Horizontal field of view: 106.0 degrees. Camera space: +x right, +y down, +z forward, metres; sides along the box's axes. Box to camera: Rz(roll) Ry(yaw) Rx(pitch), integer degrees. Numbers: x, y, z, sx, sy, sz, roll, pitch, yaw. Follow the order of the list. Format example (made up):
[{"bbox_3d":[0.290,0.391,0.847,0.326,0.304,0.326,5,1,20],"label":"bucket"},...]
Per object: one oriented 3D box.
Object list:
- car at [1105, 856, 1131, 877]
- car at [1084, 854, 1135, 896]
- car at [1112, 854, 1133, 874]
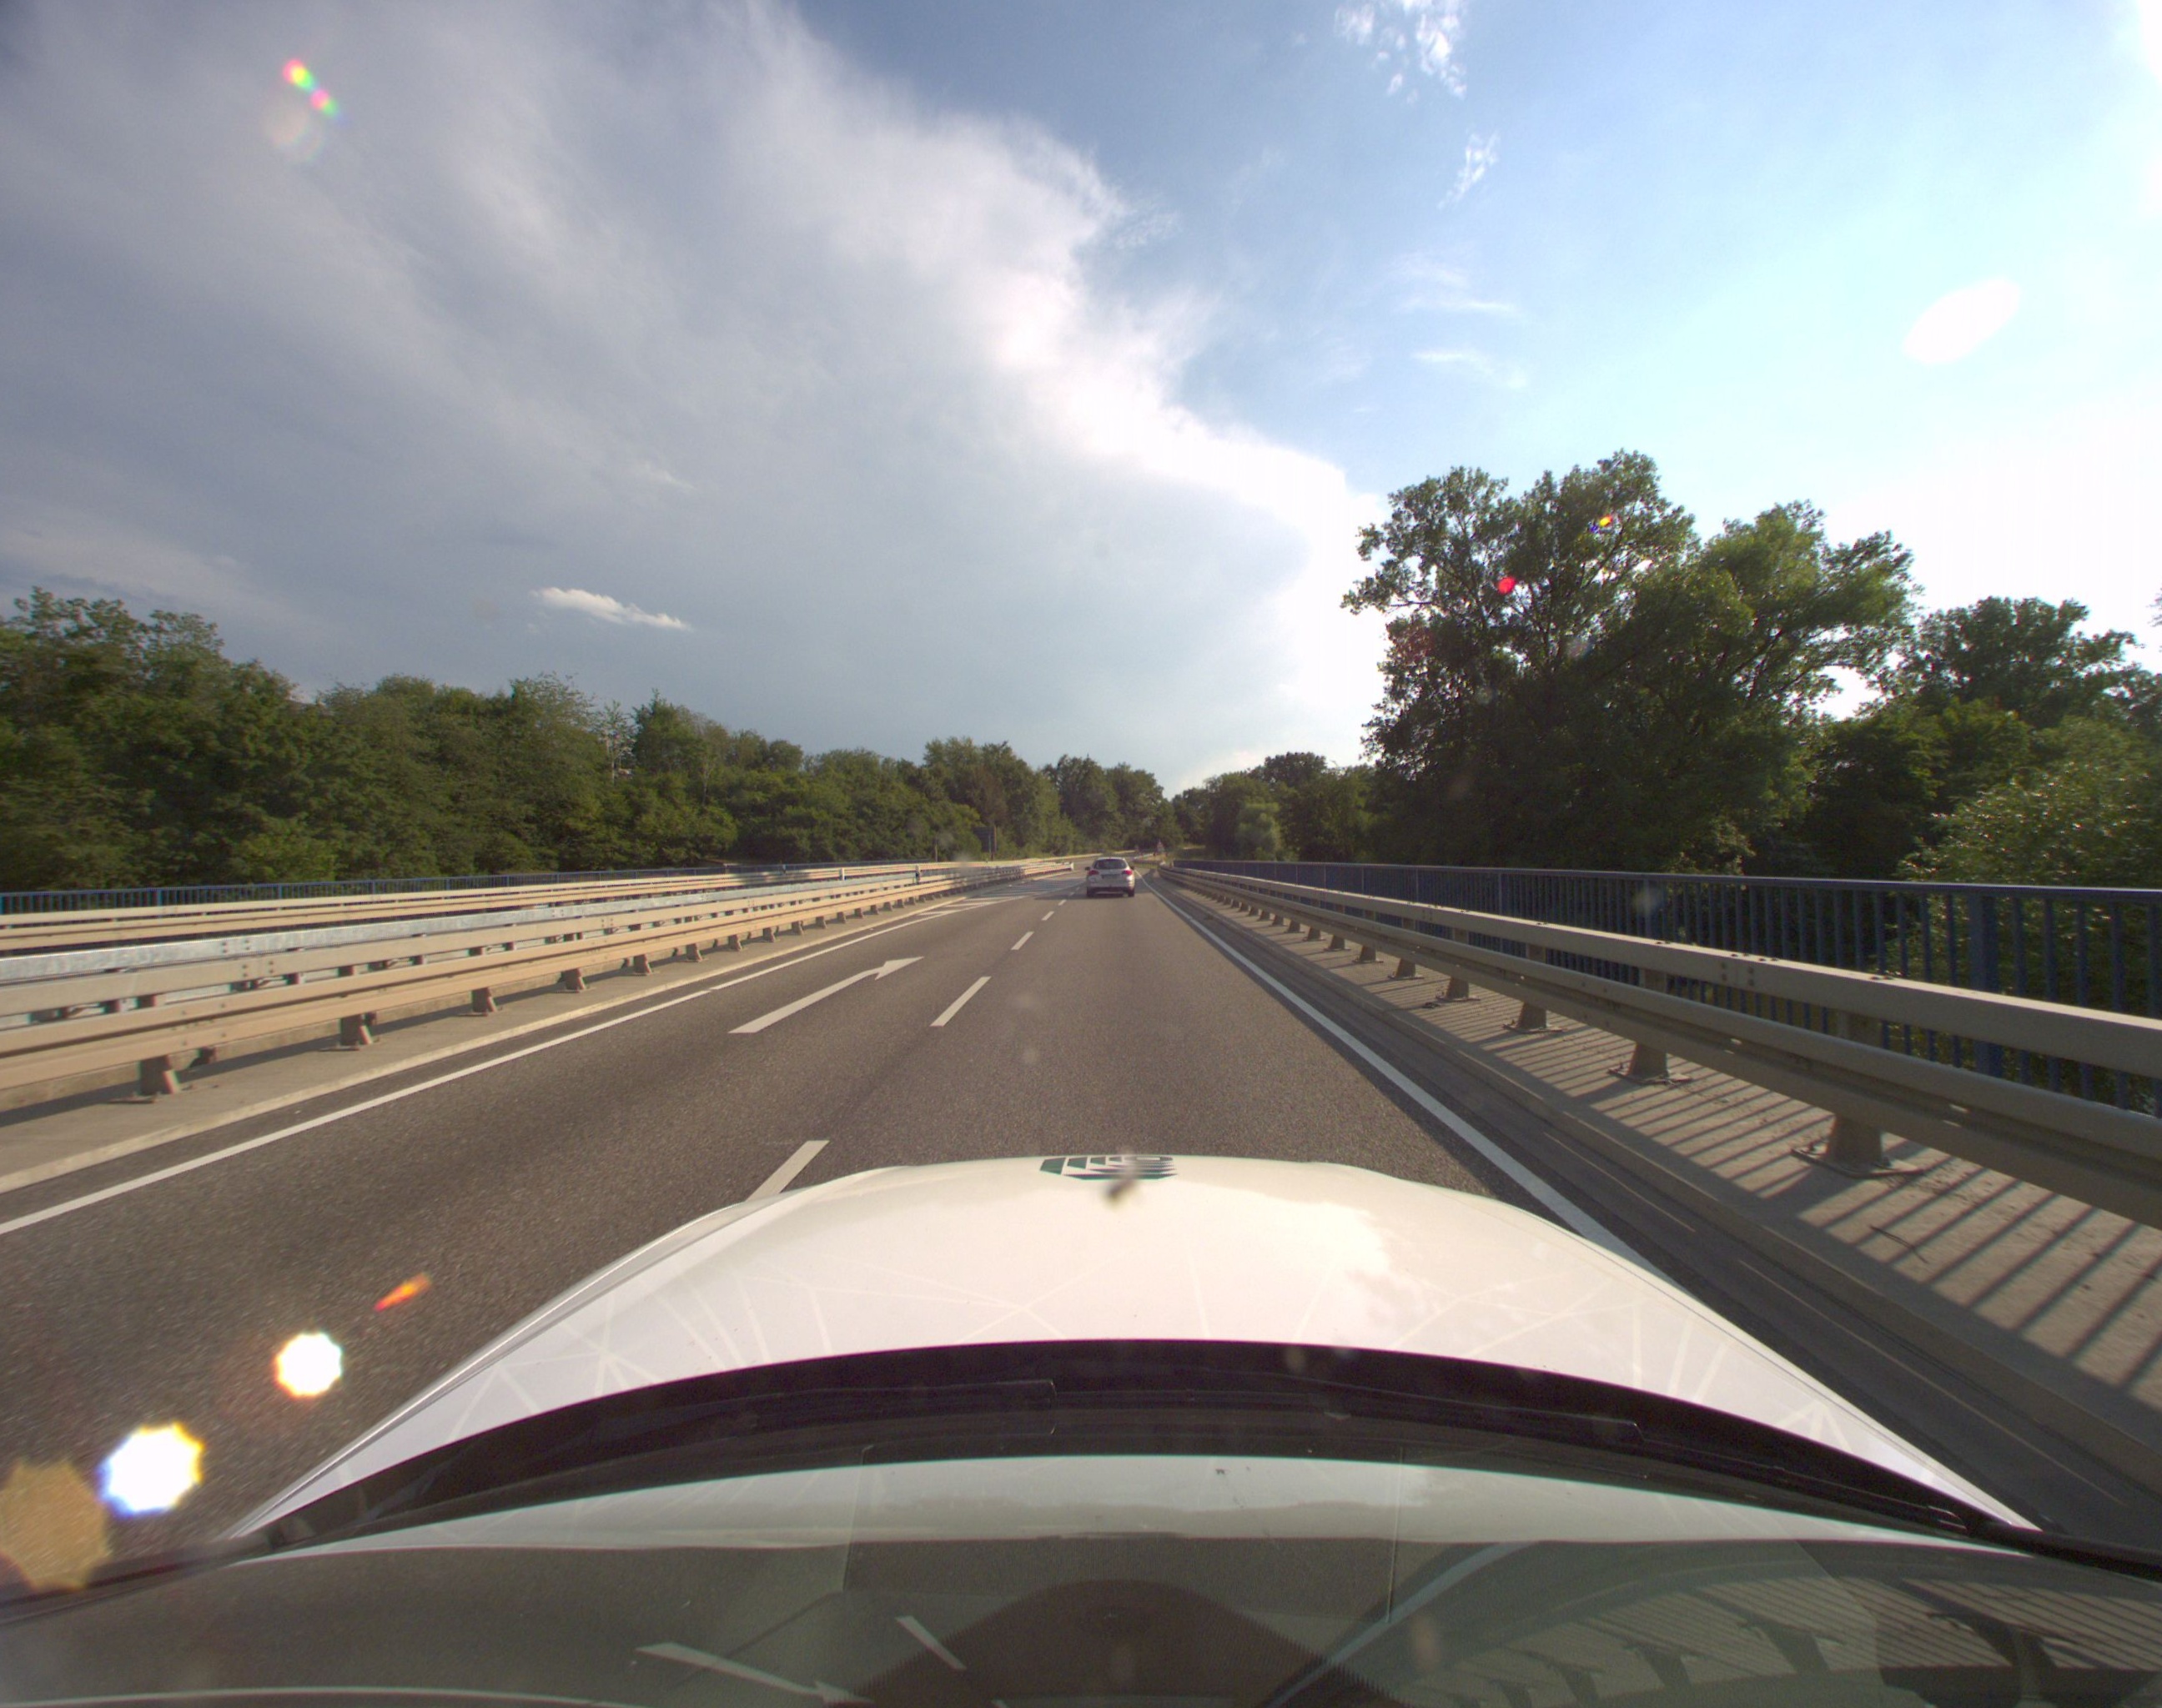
[{"bbox_3d":[2.656,0.932,59.763,1.802,1.486,4.001,-1,-1,1],"label":"car"},{"bbox_3d":[1.071,0.775,31.174,1.802,1.486,4.001,-1,-1,1],"label":"car"},{"bbox_3d":[4.254,1.074,83.571,1.986,2.014,4.001,-1,-1,1],"label":"car"}]
